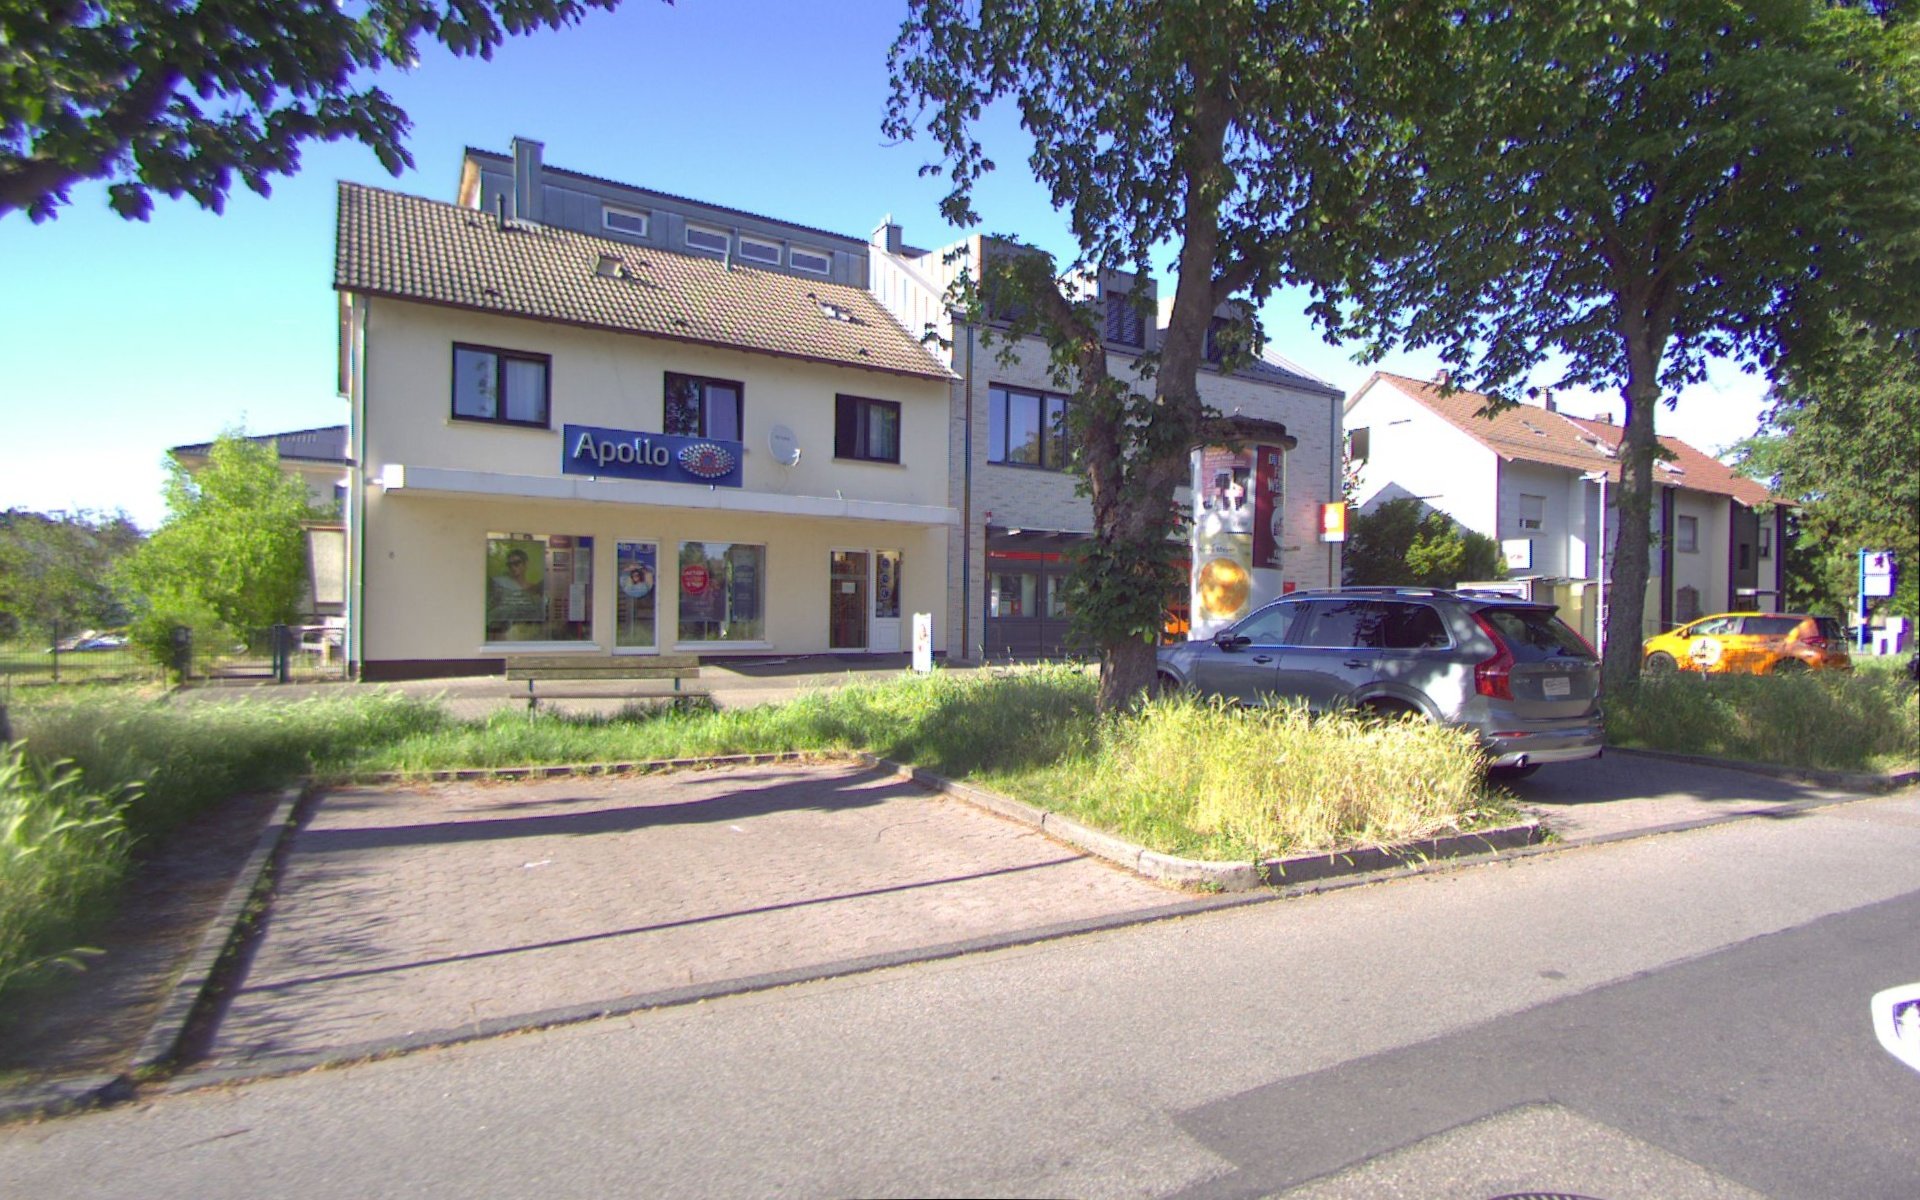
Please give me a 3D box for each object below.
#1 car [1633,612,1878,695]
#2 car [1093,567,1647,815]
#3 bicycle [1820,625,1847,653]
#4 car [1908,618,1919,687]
[{"bbox_3d":[17.903,1.143,22.786,1.851,1.563,3.962,1,1,-34],"label":"car"},{"bbox_3d":[3.780,0.656,10.363,1.978,1.751,5.032,2,3,-32],"label":"car"},{"bbox_3d":[40.041,1.749,46.022,0.696,1.192,4.031,1,0,44],"label":"bicycle"},{"bbox_3d":[22.052,1.223,20.206,1.617,1.469,3.974,2,1,-25],"label":"car"}]
